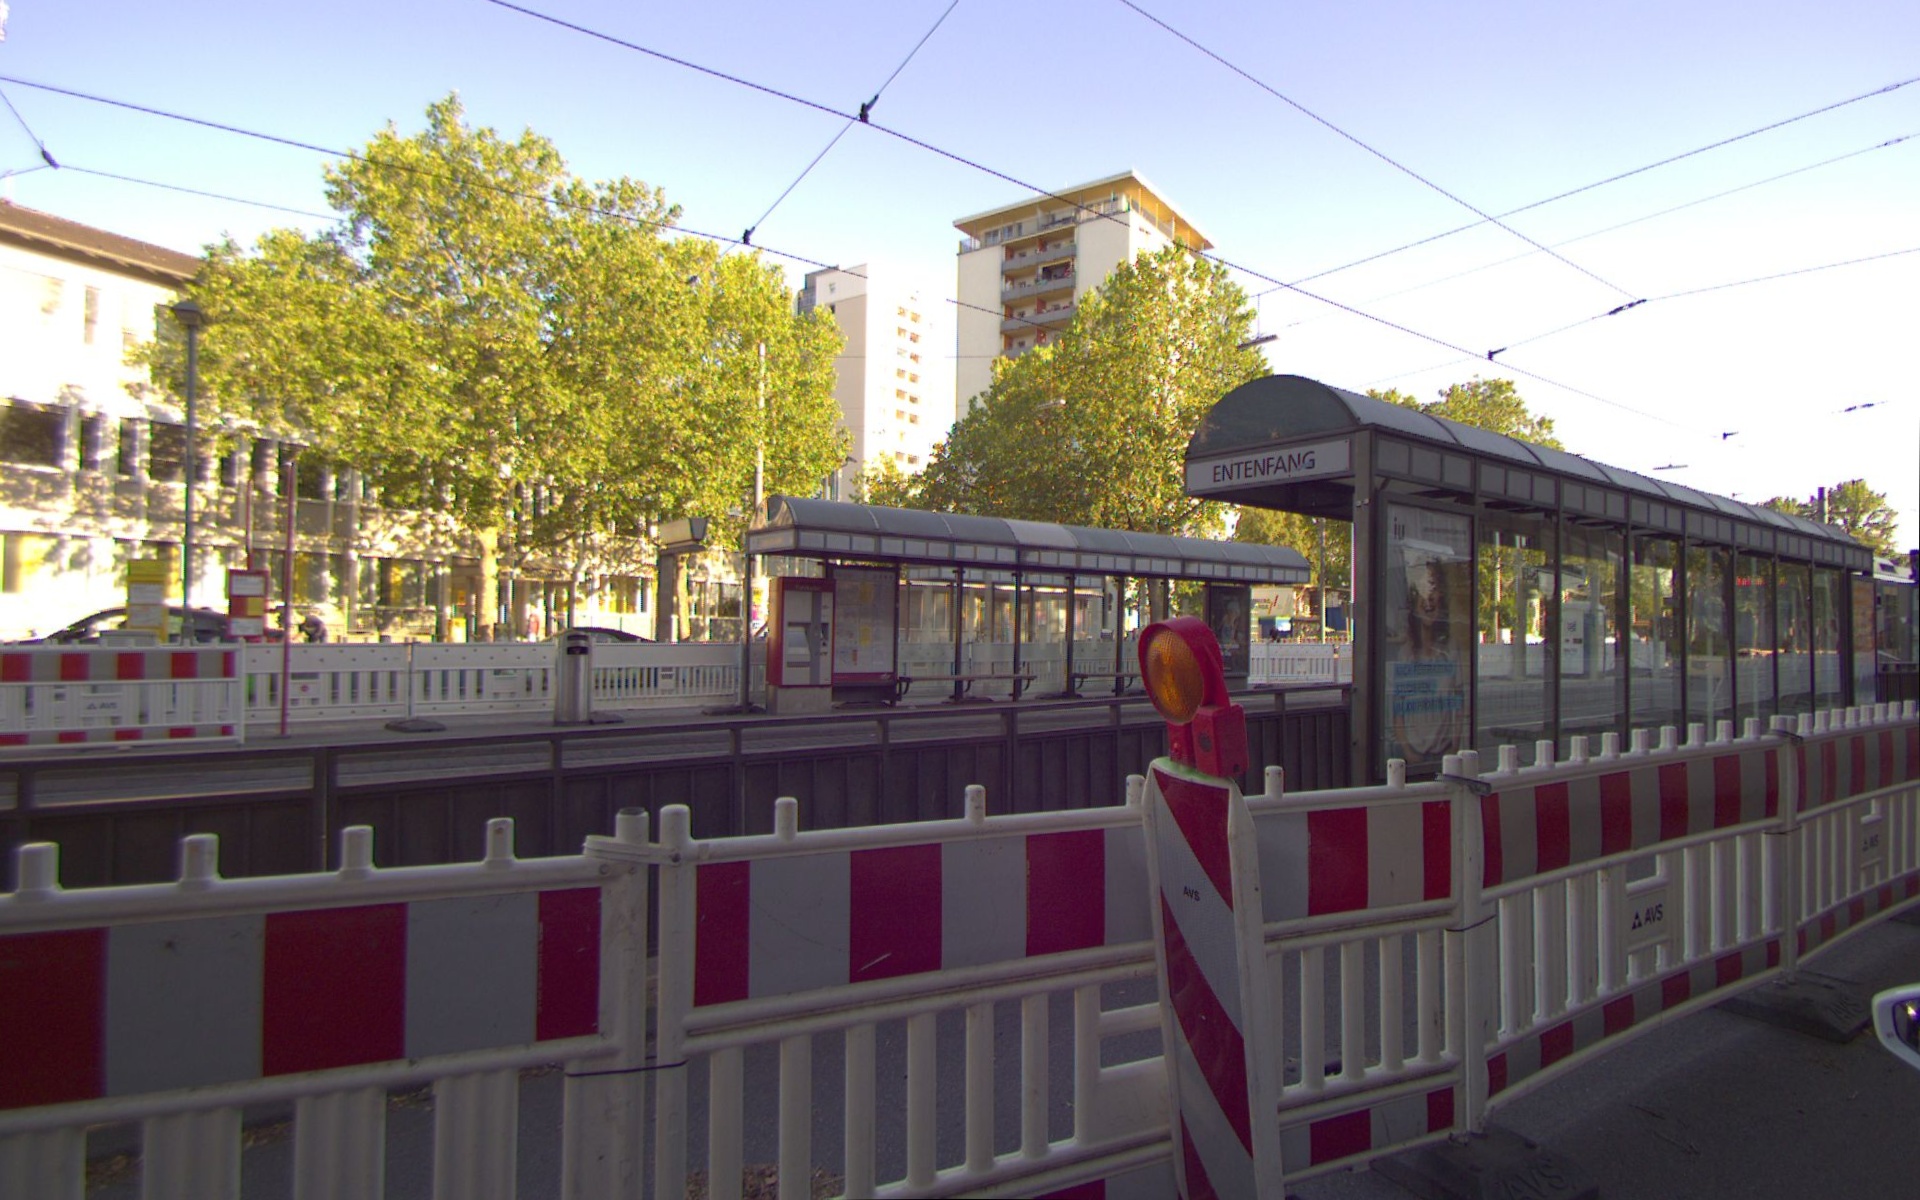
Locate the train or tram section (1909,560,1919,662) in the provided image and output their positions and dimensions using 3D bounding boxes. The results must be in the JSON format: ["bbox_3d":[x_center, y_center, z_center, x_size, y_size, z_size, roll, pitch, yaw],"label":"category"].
[{"bbox_3d":[38.847,0.561,37.929,11.479,3.580,2.666,2,0,-38],"label":"train or tram section"}]

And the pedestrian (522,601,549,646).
[{"bbox_3d":[-14.139,0.788,33.458,0.576,1.474,0.584,0,-1,31],"label":"pedestrian"}]

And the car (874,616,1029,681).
[{"bbox_3d":[-0.221,1.329,28.095,3.959,1.683,1.901,2,-2,-35],"label":"car"}]

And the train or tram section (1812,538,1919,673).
[{"bbox_3d":[29.642,0.276,31.042,11.477,3.606,2.666,2,0,-38],"label":"train or tram section"}]

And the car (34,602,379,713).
[{"bbox_3d":[-12.740,0.958,17.398,4.511,1.683,1.982,2,-2,-34],"label":"car"}]

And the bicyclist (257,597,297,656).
[{"bbox_3d":[-20.763,0.800,30.538,0.662,1.750,0.763,0,-1,32],"label":"bicyclist"}]

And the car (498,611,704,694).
[{"bbox_3d":[-7.951,1.140,22.309,3.958,1.683,1.982,2,-2,-34],"label":"car"}]

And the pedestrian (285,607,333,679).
[{"bbox_3d":[-17.149,1.136,26.465,0.921,1.858,0.691,2,-2,-43],"label":"pedestrian"}]

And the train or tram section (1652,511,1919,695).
[{"bbox_3d":[20.486,0.204,24.024,11.657,3.581,2.668,2,0,-36],"label":"train or tram section"}]
